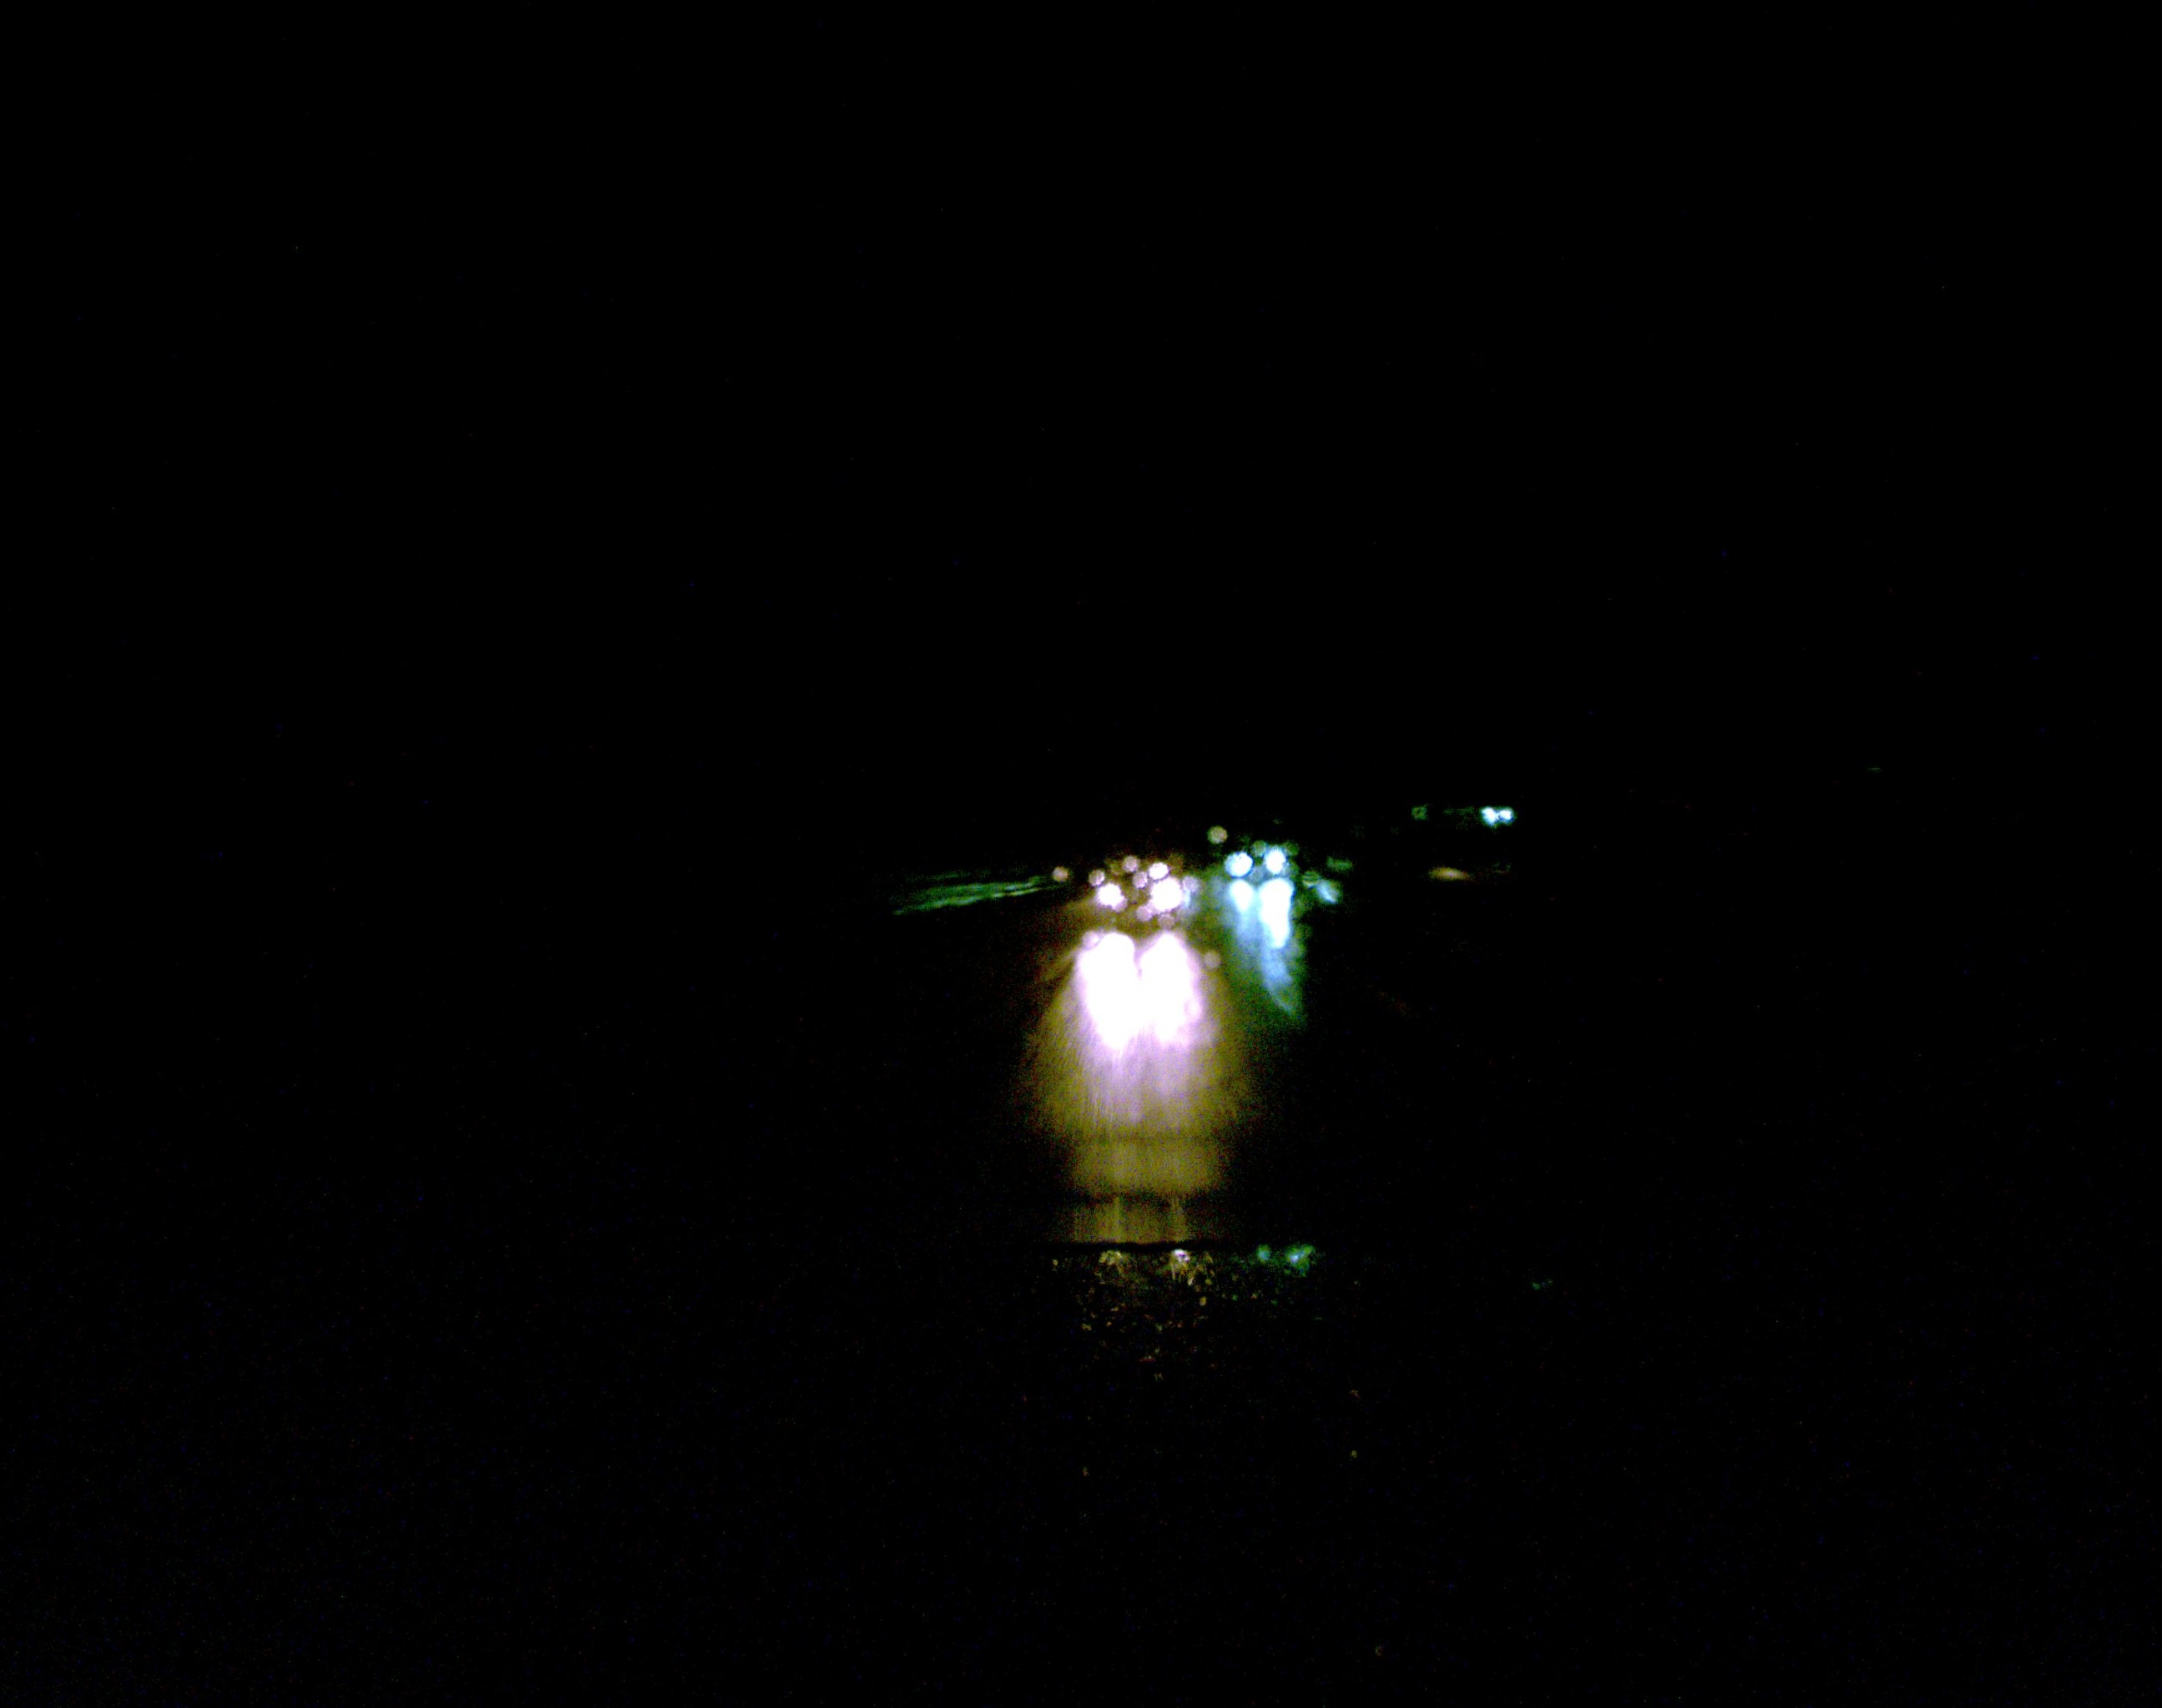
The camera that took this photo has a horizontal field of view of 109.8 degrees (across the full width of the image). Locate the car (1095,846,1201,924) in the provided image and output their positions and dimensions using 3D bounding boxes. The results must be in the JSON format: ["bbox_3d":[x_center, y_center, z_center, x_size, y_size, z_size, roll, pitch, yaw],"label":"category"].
[{"bbox_3d":[1.616,0.617,17.152,1.685,1.443,3.645,-1,2,16],"label":"car"}]

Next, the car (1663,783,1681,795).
[{"bbox_3d":[87.669,-9.674,112.672,1.741,1.418,4.104,-2,6,33],"label":"car"}]

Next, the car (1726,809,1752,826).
[{"bbox_3d":[61.411,-3.399,70.922,1.501,1.420,3.436,1,5,35],"label":"car"}]

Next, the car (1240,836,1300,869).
[{"bbox_3d":[8.727,-0.112,34.897,1.757,1.304,4.091,0,3,27],"label":"car"}]
